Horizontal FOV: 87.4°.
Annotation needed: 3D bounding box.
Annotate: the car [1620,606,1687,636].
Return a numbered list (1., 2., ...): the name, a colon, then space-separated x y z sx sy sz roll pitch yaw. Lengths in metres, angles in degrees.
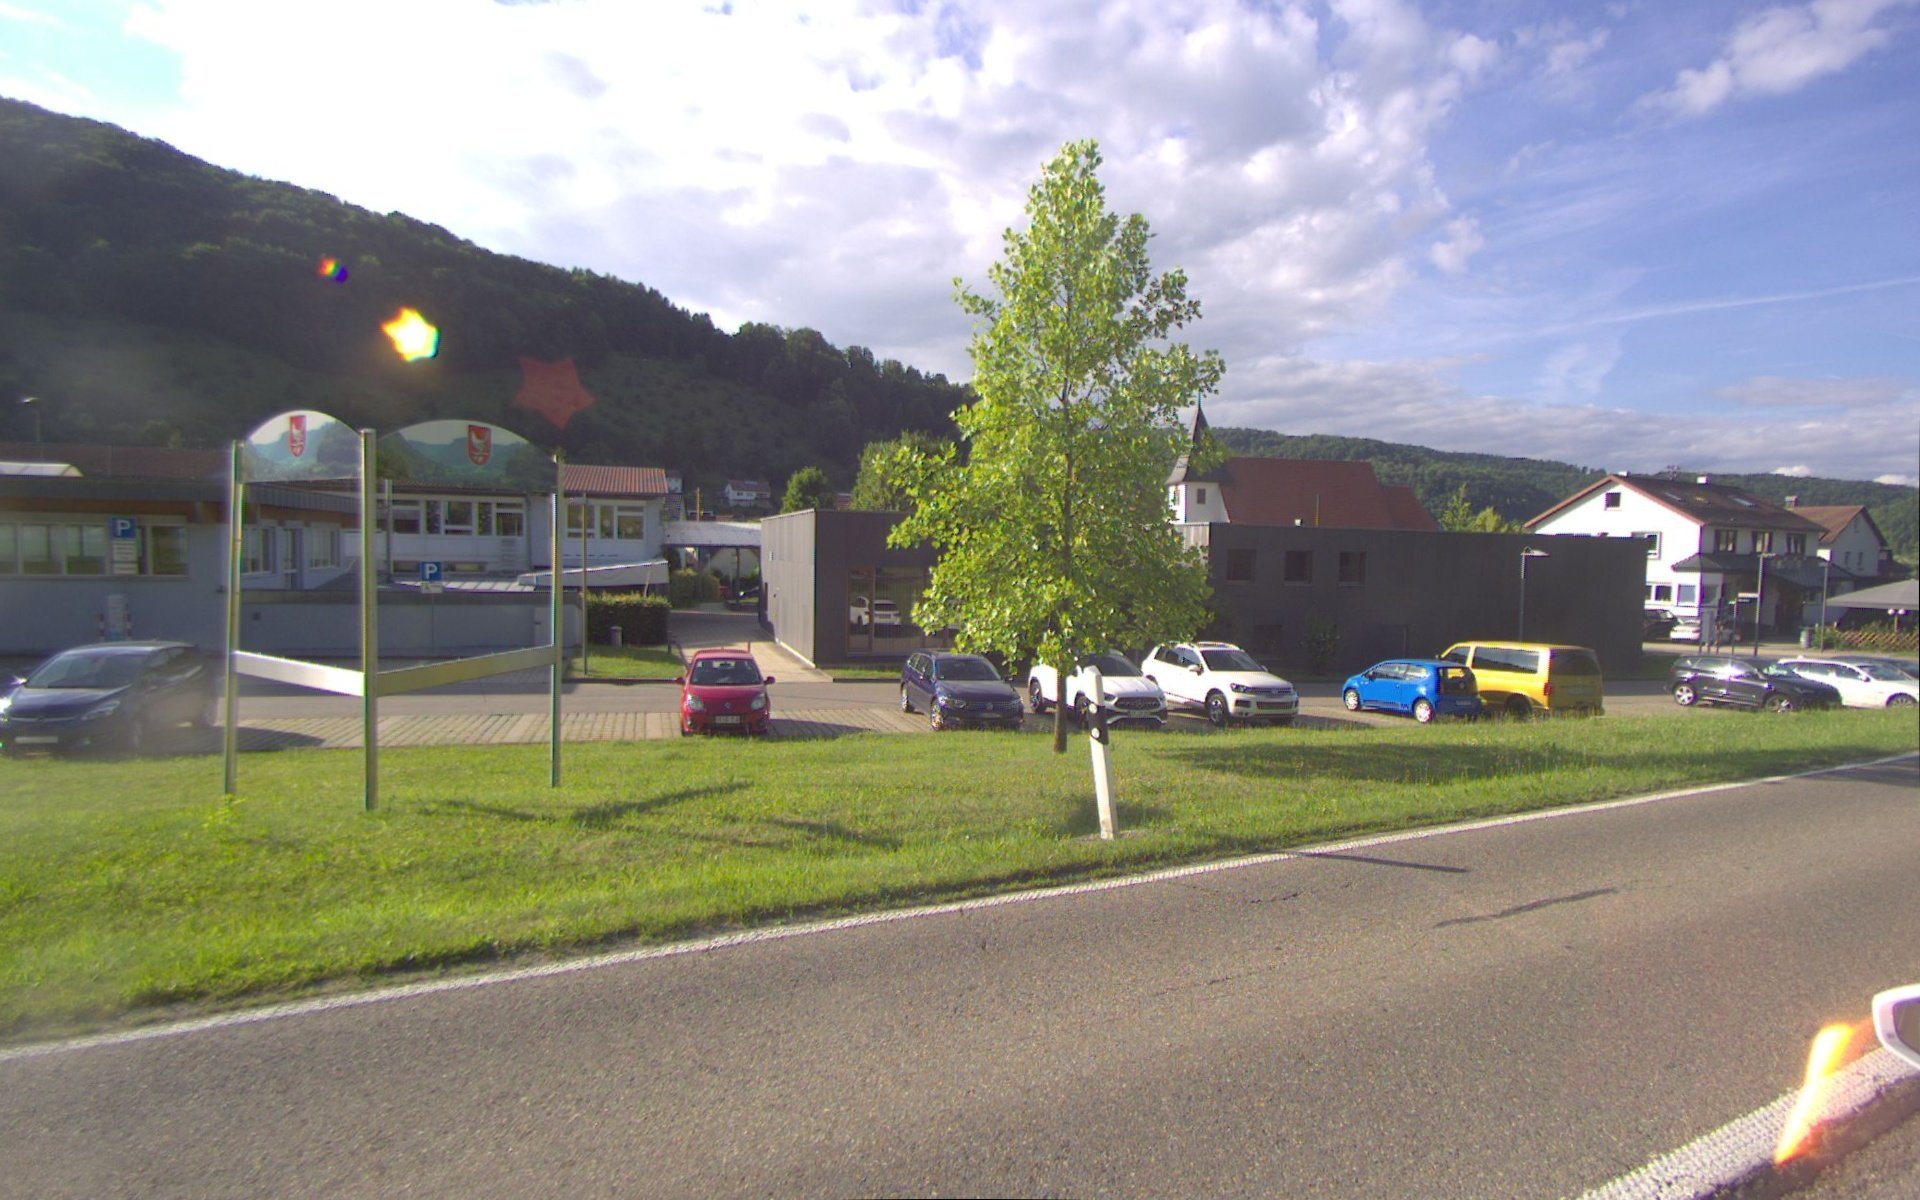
1. car: 41.563 1.252 60.208 3.956 1.684 1.877 2 0 -32

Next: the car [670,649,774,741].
1. car: -4.721 1.770 19.586 1.591 1.416 3.717 2 0 -19

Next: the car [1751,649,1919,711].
1. car: 27.598 2.428 30.969 1.852 1.513 4.808 2 0 -19

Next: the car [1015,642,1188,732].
1. car: 3.021 1.871 22.533 1.969 1.575 4.534 2 0 -19

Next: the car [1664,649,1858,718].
1. car: 23.391 2.389 29.521 1.969 1.659 4.020 2 0 -19

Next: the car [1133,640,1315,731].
1. car: 6.130 1.951 23.943 1.969 1.725 4.534 2 0 -19

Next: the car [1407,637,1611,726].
1. car: 14.093 2.040 26.141 1.967 1.893 4.610 2 0 -16

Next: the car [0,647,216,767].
1. car: -13.865 1.630 16.422 1.659 1.471 4.001 -1 1 -21

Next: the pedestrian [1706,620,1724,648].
1. pedestrian: 42.101 1.898 56.032 0.583 1.523 0.605 2 0 -31

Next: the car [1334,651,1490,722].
1. car: 11.482 2.166 25.742 1.609 1.492 3.487 2 0 -21

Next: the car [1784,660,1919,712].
1. car: 29.457 2.753 32.478 1.736 1.327 3.977 2 0 -23

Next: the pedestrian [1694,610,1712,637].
1. pedestrian: 41.953 1.335 56.698 0.583 1.523 0.605 2 0 -31

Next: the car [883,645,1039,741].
1. car: -0.121 1.899 21.578 1.969 1.575 4.534 2 0 -19

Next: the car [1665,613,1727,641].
1. car: 42.742 1.576 58.296 3.956 1.469 1.547 2 0 -32
